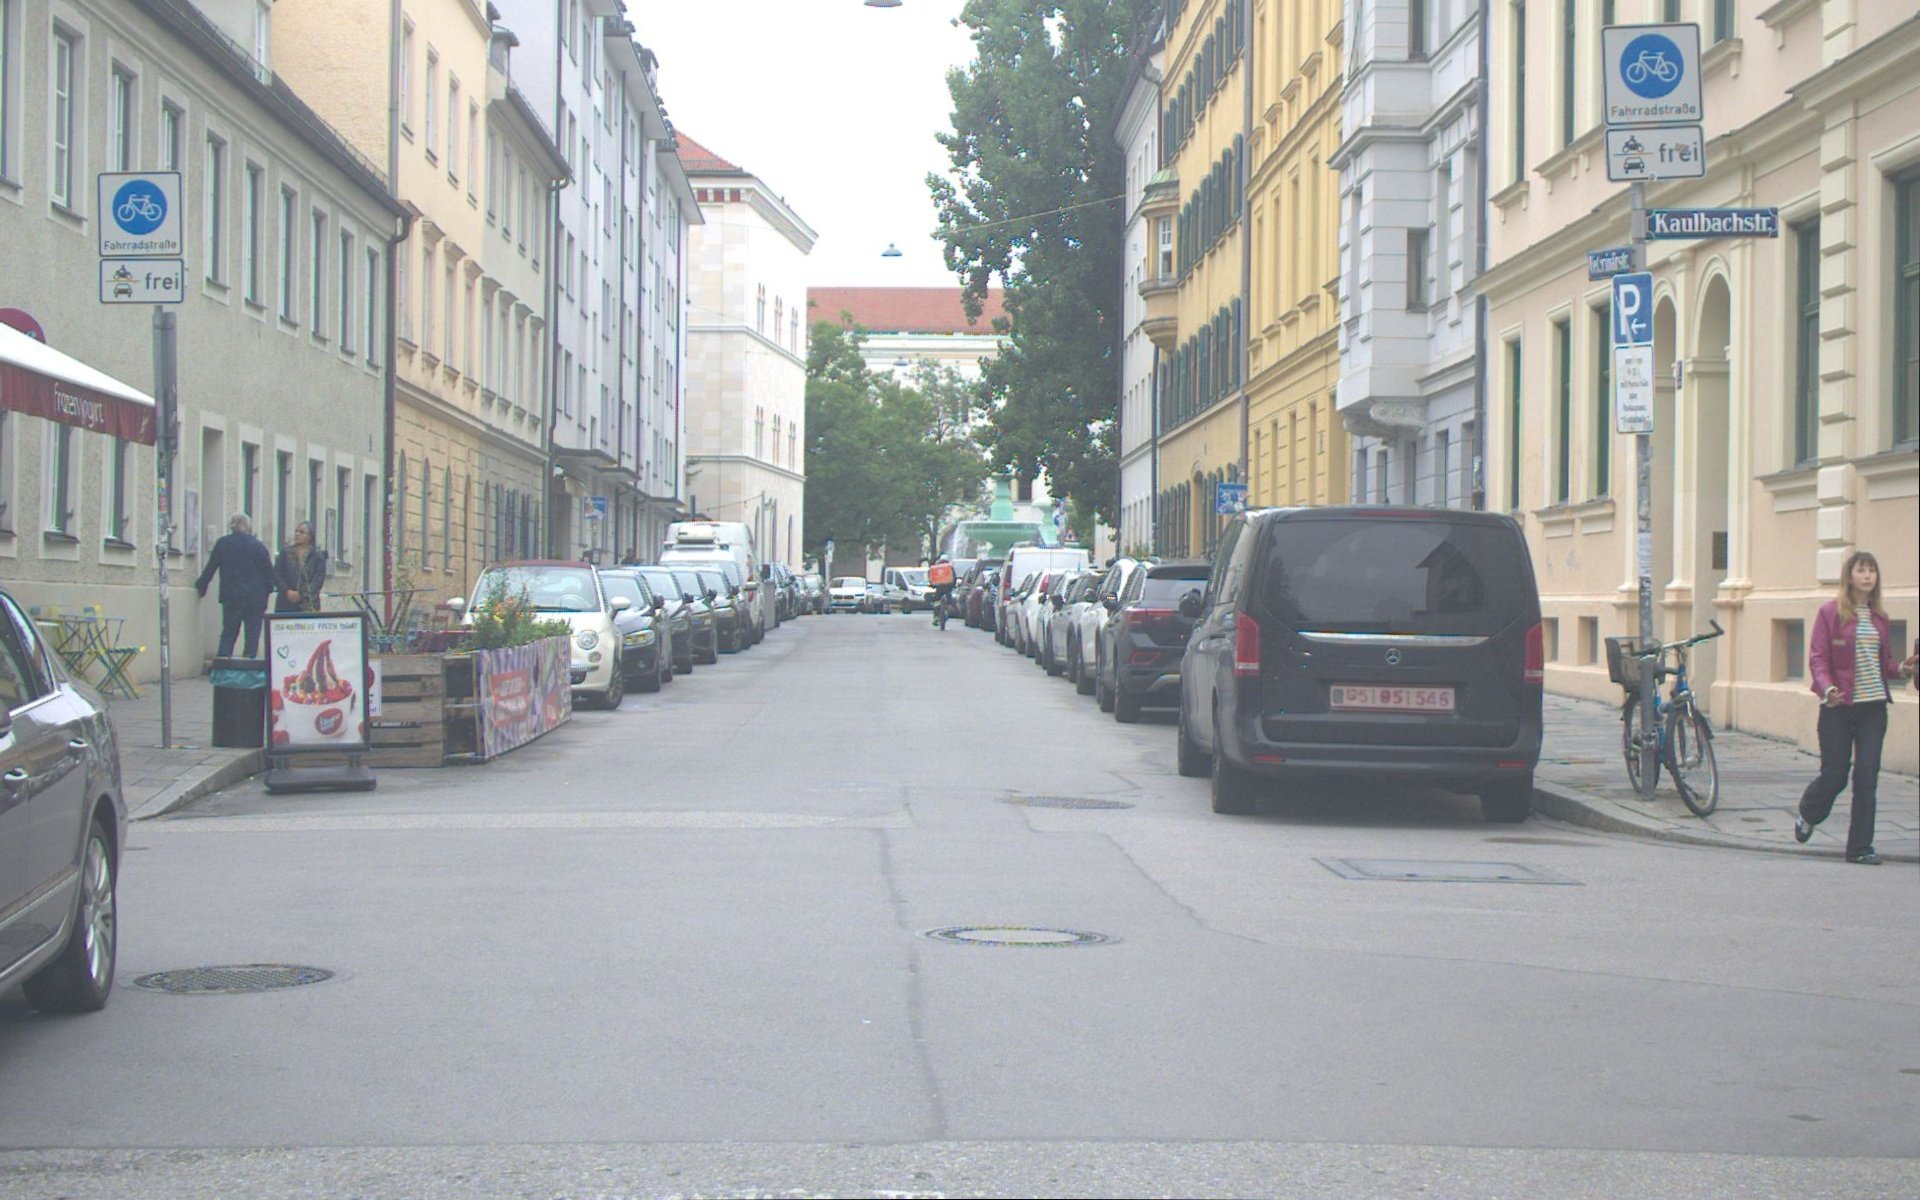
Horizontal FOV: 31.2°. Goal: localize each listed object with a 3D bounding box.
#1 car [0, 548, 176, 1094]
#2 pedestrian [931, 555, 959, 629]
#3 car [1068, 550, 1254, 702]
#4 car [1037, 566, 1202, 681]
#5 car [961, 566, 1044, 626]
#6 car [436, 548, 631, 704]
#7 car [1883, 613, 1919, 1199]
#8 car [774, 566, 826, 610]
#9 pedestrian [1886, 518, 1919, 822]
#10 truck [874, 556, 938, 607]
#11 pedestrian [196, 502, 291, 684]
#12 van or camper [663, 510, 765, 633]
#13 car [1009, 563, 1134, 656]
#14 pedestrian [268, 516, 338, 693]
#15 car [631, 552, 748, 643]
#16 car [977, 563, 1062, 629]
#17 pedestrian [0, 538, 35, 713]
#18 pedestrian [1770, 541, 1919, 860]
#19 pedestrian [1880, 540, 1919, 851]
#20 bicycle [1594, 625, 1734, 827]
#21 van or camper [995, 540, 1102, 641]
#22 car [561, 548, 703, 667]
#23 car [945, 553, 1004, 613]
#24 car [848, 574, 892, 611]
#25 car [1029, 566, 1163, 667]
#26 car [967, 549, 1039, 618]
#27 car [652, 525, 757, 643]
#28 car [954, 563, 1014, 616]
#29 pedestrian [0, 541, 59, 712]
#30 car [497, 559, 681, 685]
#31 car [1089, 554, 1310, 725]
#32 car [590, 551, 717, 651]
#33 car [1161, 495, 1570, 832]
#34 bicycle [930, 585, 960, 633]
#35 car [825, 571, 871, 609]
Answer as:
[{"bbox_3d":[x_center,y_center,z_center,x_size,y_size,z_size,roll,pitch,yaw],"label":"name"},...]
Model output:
[{"bbox_3d":[-3.443,0.591,9.591,1.679,1.466,4.951,0,1,-4],"label":"car"},{"bbox_3d":[-0.348,-0.178,80.322,0.642,1.708,0.843,1,-1,0],"label":"pedestrian"},{"bbox_3d":[2.226,0.268,39.076,1.743,1.578,4.467,1,0,-1],"label":"car"},{"bbox_3d":[2.062,0.285,45.439,1.708,1.400,4.208,1,0,-3],"label":"car"},{"bbox_3d":[1.054,-0.107,87.132,1.811,1.420,4.247,2,0,-3],"label":"car"},{"bbox_3d":[-4.335,0.237,35.375,1.754,1.470,3.714,2,0,-4],"label":"car"},{"bbox_3d":[2.649,0.823,4.175,1.675,1.420,4.204,3,1,-3],"label":"car"},{"bbox_3d":[-5.969,-0.455,128.605,1.706,1.604,3.863,0,0,1],"label":"car"},{"bbox_3d":[5.756,0.398,19.445,0.719,1.711,1.004,1,-1,-2],"label":"pedestrian"},{"bbox_3d":[-2.514,-0.816,158.593,2.120,2.240,6.186,1,-1,-9],"label":"truck"},{"bbox_3d":[-7.572,-0.066,36.368,0.822,1.891,0.827,1,-1,-2],"label":"pedestrian"},{"bbox_3d":[-4.760,-0.550,67.034,1.754,2.273,5.274,1,0,-2],"label":"van or camper"},{"bbox_3d":[1.833,0.143,57.566,1.708,1.449,4.097,1,0,-3],"label":"car"},{"bbox_3d":[-6.708,0.048,35.105,0.528,1.776,0.877,1,-1,-1],"label":"pedestrian"},{"bbox_3d":[-4.424,-0.051,56.696,1.754,1.404,4.103,1,0,-2],"label":"car"},{"bbox_3d":[1.394,-0.095,81.853,1.811,1.460,4.247,2,0,-1],"label":"car"},{"bbox_3d":[-7.400,0.188,25.649,0.803,1.285,0.693,1,-1,-1],"label":"pedestrian"},{"bbox_3d":[4.647,0.520,18.081,0.472,1.619,1.069,1,-1,-2],"label":"pedestrian"},{"bbox_3d":[5.319,0.503,18.086,0.658,1.615,0.980,1,-1,-2],"label":"pedestrian"},{"bbox_3d":[4.180,0.726,20.492,0.465,1.049,1.729,-1,3,0],"label":"bicycle"},{"bbox_3d":[1.696,-0.194,67.326,1.833,1.865,5.079,1,0,-1],"label":"van or camper"},{"bbox_3d":[-4.383,0.082,46.427,1.754,1.491,4.201,1,0,-4],"label":"car"},{"bbox_3d":[0.461,-0.562,113.919,1.852,1.913,4.769,1,0,-1],"label":"car"},{"bbox_3d":[-3.908,-0.327,149.404,1.706,1.576,3.863,0,0,2],"label":"car"},{"bbox_3d":[1.987,0.223,51.352,1.708,1.404,4.815,1,0,-1],"label":"car"},{"bbox_3d":[1.146,-0.450,94.134,1.812,1.791,4.247,2,0,-1],"label":"car"},{"bbox_3d":[-4.601,-0.294,61.558,1.754,1.988,4.626,1,0,-5],"label":"car"},{"bbox_3d":[0.739,-0.318,108.045,1.811,1.609,4.156,1,0,-1],"label":"car"},{"bbox_3d":[-7.417,0.201,26.385,0.803,1.286,0.693,1,-1,-1],"label":"pedestrian"},{"bbox_3d":[-4.315,0.214,40.530,1.798,1.335,4.686,1,1,-2],"label":"car"},{"bbox_3d":[2.263,0.351,33.503,1.754,1.516,4.275,1,0,-1],"label":"car"},{"bbox_3d":[-4.590,-0.021,51.620,1.816,1.436,4.132,0,1,-5],"label":"car"},{"bbox_3d":[2.463,0.336,22.219,1.997,1.858,5.253,2,1,0],"label":"car"},{"bbox_3d":[-0.346,0.217,80.280,0.675,1.091,1.760,1,-1,0],"label":"bicycle"},{"bbox_3d":[-4.638,-0.418,143.153,1.706,1.576,3.863,0,0,2],"label":"car"}]
